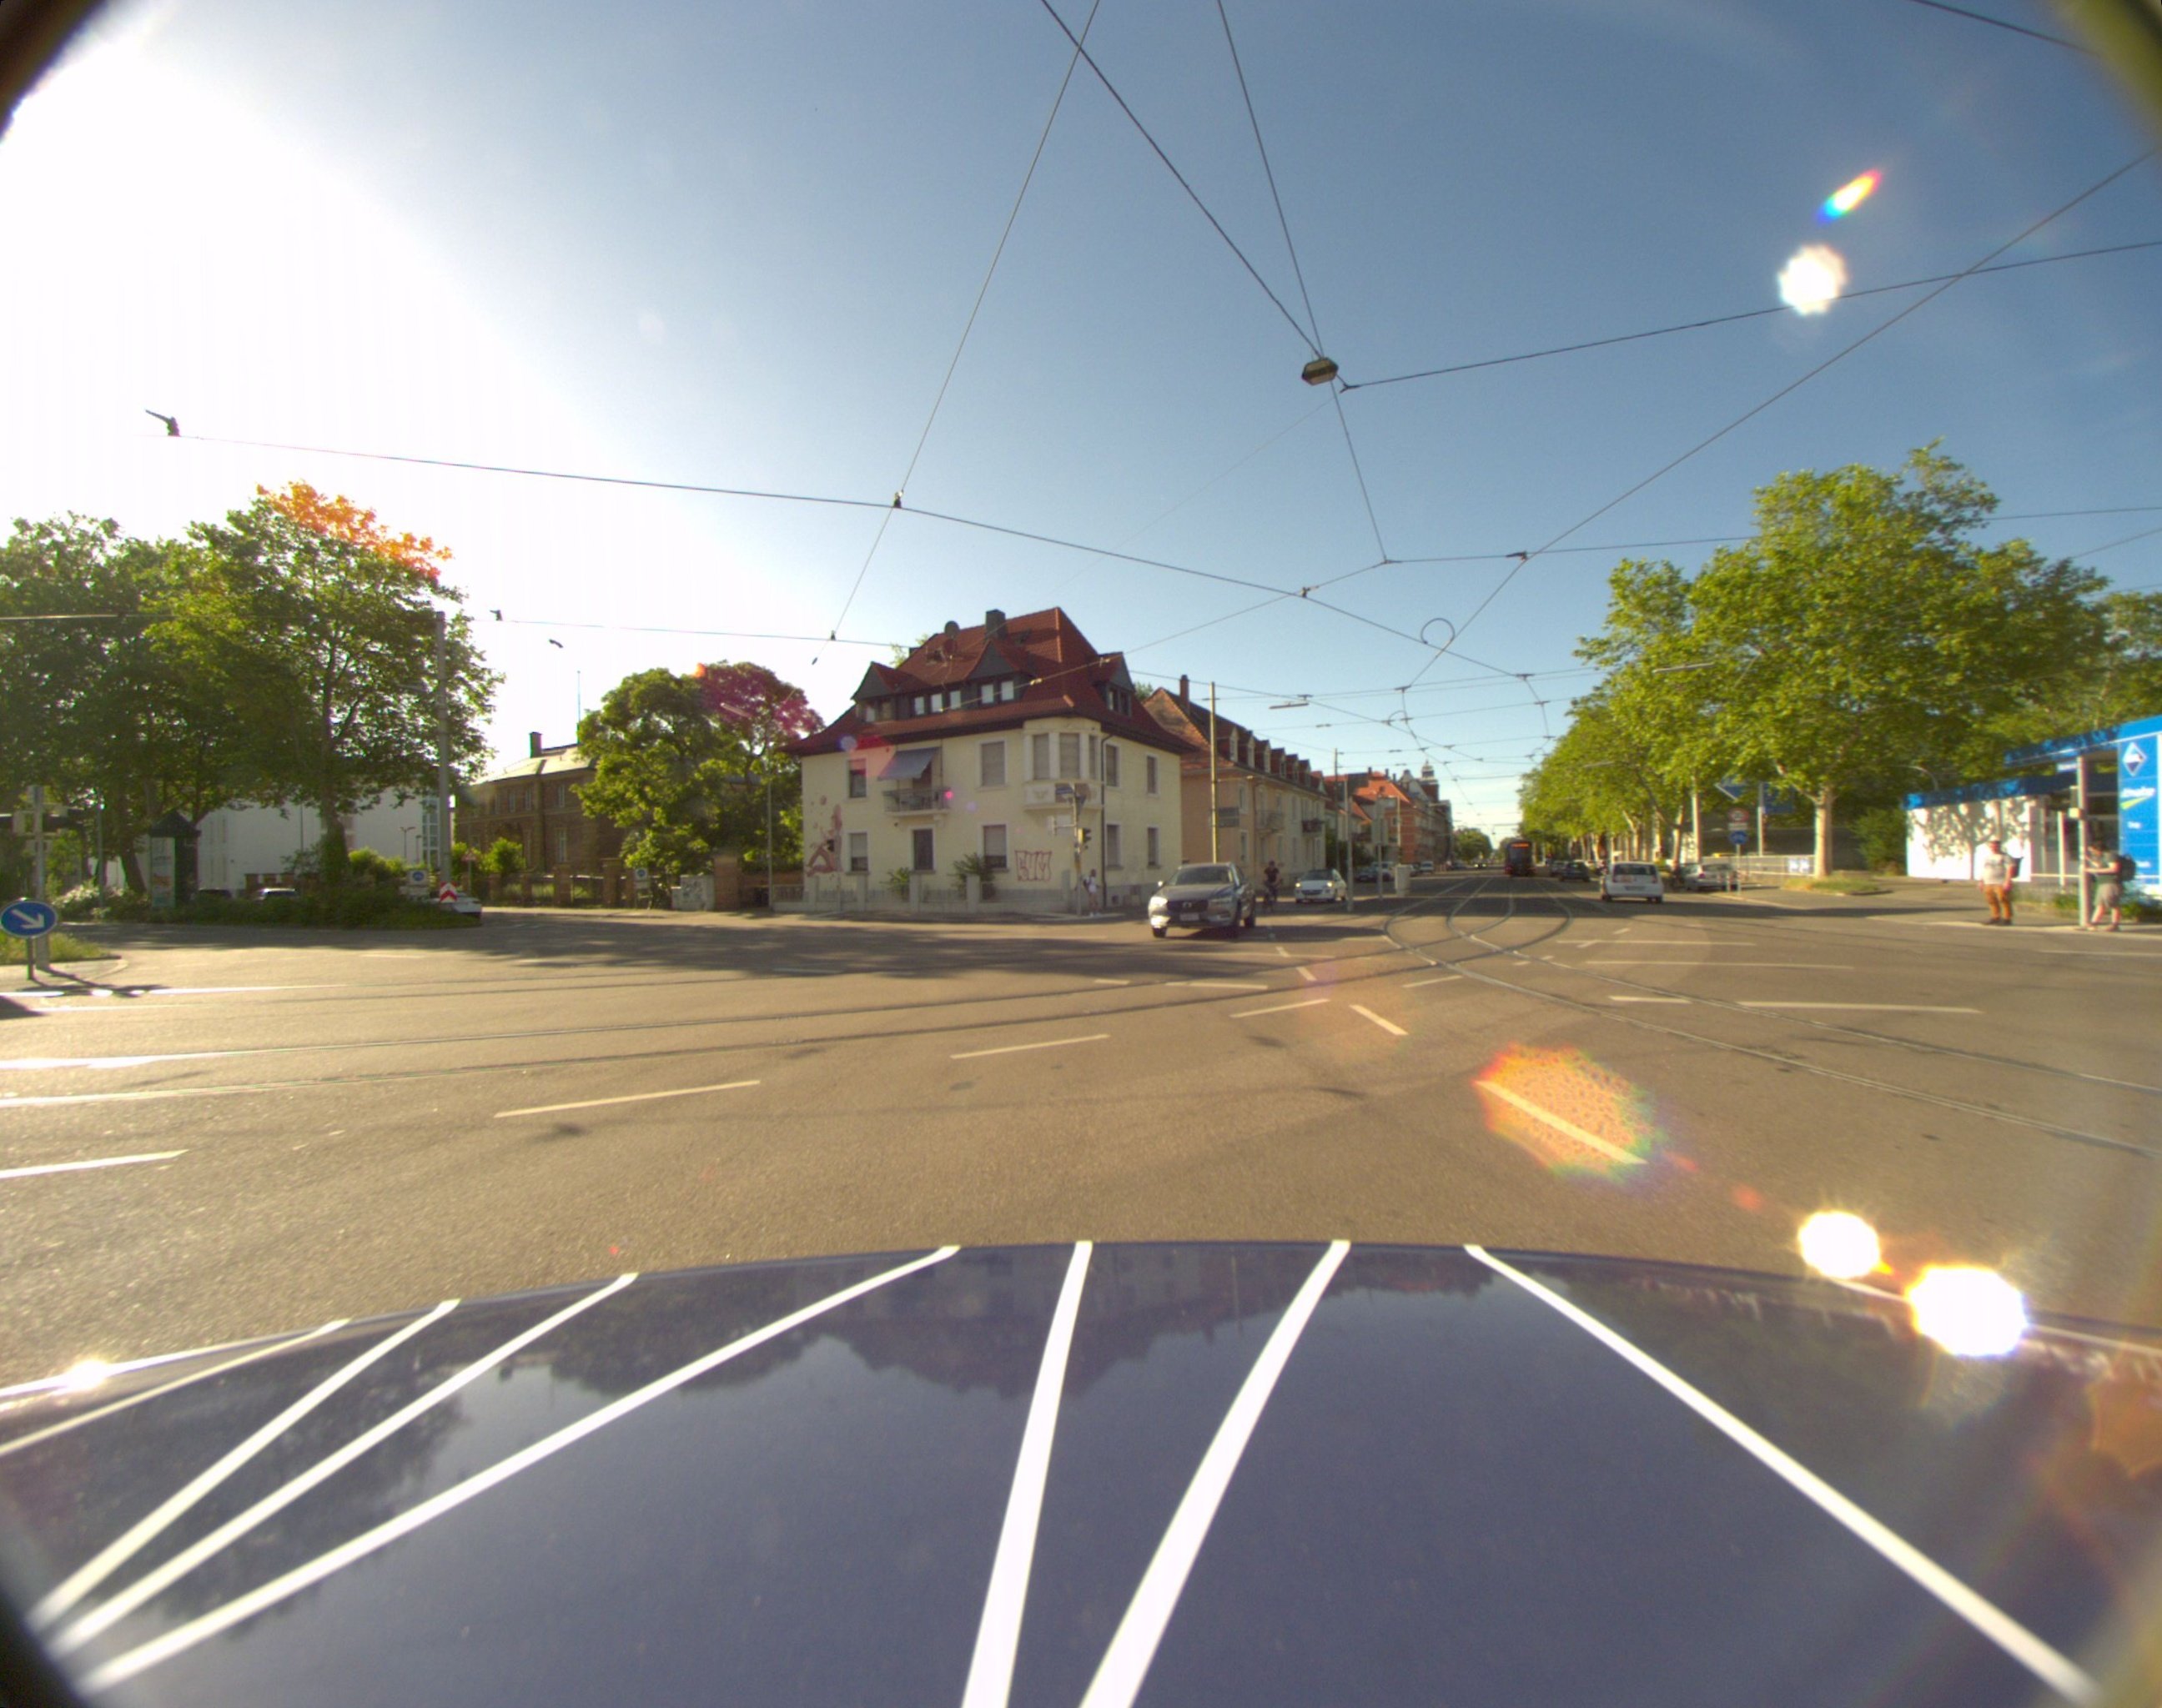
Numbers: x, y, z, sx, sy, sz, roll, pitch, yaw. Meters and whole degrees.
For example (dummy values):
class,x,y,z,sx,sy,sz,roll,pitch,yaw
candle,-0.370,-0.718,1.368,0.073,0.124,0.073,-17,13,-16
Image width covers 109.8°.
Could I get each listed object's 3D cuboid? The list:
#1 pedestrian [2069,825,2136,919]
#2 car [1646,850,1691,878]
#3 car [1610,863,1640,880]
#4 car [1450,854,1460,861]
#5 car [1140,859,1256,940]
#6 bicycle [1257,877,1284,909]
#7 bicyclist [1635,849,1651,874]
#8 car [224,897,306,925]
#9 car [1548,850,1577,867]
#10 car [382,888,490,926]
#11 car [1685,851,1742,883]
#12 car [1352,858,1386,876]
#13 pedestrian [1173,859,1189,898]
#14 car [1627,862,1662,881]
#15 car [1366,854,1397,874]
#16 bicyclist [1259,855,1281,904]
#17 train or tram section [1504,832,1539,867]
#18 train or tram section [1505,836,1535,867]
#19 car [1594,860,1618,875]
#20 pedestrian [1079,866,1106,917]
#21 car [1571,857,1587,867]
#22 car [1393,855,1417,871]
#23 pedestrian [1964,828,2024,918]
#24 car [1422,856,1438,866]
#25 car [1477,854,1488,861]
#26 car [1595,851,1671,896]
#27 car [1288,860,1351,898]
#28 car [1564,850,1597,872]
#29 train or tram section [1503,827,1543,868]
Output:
class,x,y,z,sx,sy,sz,roll,pitch,yaw
pedestrian,20.173,0.348,15.008,0.742,1.790,0.741,-1,-1,-36
car,34.280,0.578,44.410,1.776,1.415,3.318,-6,-3,34
car,49.697,1.583,69.468,1.878,1.477,4.008,-2,-1,31
car,81.001,0.739,164.504,1.879,1.477,4.008,-2,-1,28
car,2.878,0.974,17.792,1.915,1.621,4.509,-2,-1,18
bicycle,6.707,1.376,26.845,0.599,1.050,1.993,-2,-1,22
bicyclist,36.223,0.473,48.959,0.696,1.562,0.893,-2,-1,28
car,-45.997,3.184,42.827,4.491,1.445,1.923,-2,-1,27
car,45.041,0.420,71.199,1.995,1.488,4.356,0,0,28
car,-27.817,2.262,32.737,4.491,1.445,1.923,-2,-1,27
car,31.971,0.637,38.502,1.776,1.415,3.545,-6,-3,34
car,25.541,1.146,67.325,1.878,1.477,4.008,-2,-1,33
pedestrian,4.643,1.140,35.296,0.601,1.750,0.487,-2,-1,17
car,45.303,1.403,61.188,1.878,1.477,4.008,-2,-1,31
car,28.873,0.976,72.862,1.929,1.834,5.324,-2,-1,30
bicyclist,6.668,0.910,26.817,0.599,1.708,0.664,-2,-1,22
train or tram section,49.309,-0.434,85.199,3.057,3.591,12.527,-2,-1,29
train or tram section,55.345,-0.253,95.937,3.057,3.591,12.139,-2,-1,29
car,57.384,1.456,83.138,1.878,1.566,4.008,-2,-1,31
pedestrian,0.408,1.322,27.000,0.675,1.730,0.687,0,2,-32
car,74.475,1.209,113.630,1.878,1.542,4.008,-2,-1,31
car,37.821,1.069,88.665,1.929,1.749,5.324,-2,-1,30
pedestrian,19.930,0.411,16.607,0.630,1.914,0.585,-2,-1,30
car,50.163,1.003,109.218,1.879,1.477,4.008,-2,-1,28
car,81.986,0.725,155.098,1.879,1.477,4.008,-2,-1,28
car,19.948,0.689,27.615,1.719,1.488,3.590,-2,-1,28
car,10.843,1.093,34.349,1.914,1.621,4.511,-2,-1,28
car,36.207,0.516,55.138,1.775,1.488,4.583,-2,-1,31
train or tram section,43.257,-0.554,74.505,3.057,3.591,12.139,-2,-1,30
